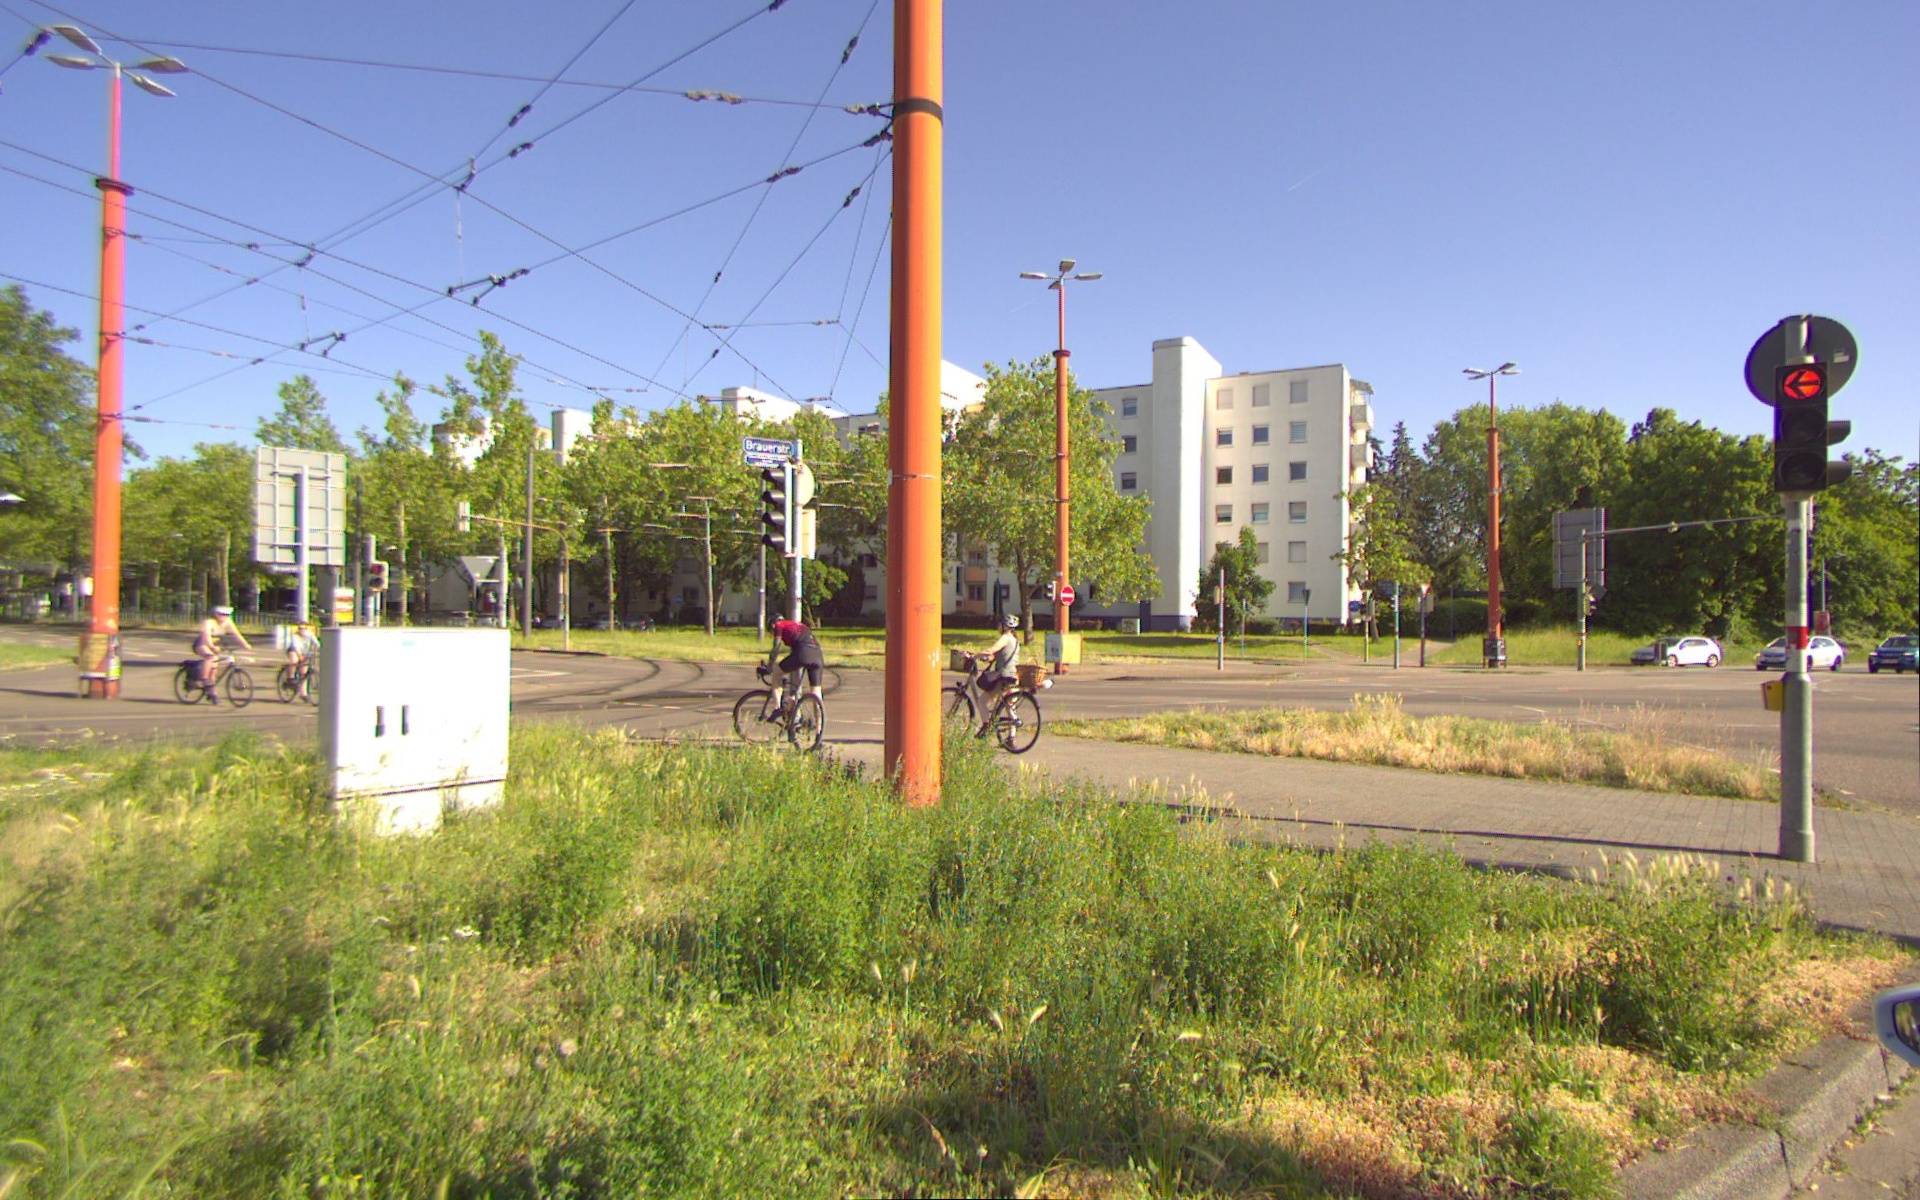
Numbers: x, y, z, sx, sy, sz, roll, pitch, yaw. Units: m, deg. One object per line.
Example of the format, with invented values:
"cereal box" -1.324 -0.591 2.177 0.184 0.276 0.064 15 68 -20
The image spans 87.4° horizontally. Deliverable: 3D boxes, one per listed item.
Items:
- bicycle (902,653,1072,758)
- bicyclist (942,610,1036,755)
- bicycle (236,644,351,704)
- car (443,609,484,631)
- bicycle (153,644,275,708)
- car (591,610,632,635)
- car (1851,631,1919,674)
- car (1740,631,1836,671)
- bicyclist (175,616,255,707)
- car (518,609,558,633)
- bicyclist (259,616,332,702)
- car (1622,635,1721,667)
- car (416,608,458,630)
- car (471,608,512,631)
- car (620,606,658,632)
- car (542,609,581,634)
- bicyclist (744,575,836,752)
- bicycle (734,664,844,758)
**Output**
"bicycle" 0.315 1.226 12.126 1.855 1.102 0.925 0 -1 34
"bicyclist" 0.360 0.956 12.102 0.728 1.659 0.931 0 -1 35
"bicycle" -13.250 1.441 19.986 1.849 1.102 0.928 0 -1 18
"car" -42.668 1.696 86.456 1.963 1.840 3.995 1 -1 -8
"bicycle" -14.027 1.411 18.902 1.849 1.102 0.928 0 -1 18
"car" -26.105 1.684 75.336 1.962 1.840 3.997 1 -1 -5
"car" 37.270 2.038 39.868 4.079 1.594 1.981 2 -1 -35
"car" 35.147 2.151 42.609 4.075 1.594 1.983 1 -1 -32
"bicyclist" -14.001 1.132 18.903 0.726 1.659 0.934 0 -1 18
"car" -33.804 1.668 80.535 1.963 1.840 3.995 1 -1 -8
"bicyclist" -13.210 1.161 19.974 0.726 1.659 0.934 0 -1 18
"car" 34.485 2.458 48.678 4.154 1.471 1.792 1 -1 -18
"car" -46.017 1.673 88.484 1.963 1.840 3.995 1 -1 -8
"car" -39.279 1.638 84.334 1.963 1.840 3.995 1 -1 -8
"car" -23.399 1.397 73.424 1.963 1.840 3.995 1 -1 -8
"car" -31.188 1.673 78.685 1.963 1.840 3.995 1 -1 -8
"bicyclist" -2.065 0.747 12.145 0.921 2.040 0.736 1 -1 -25
"bicycle" -2.114 1.307 12.241 0.915 0.976 1.747 1 -1 -24
